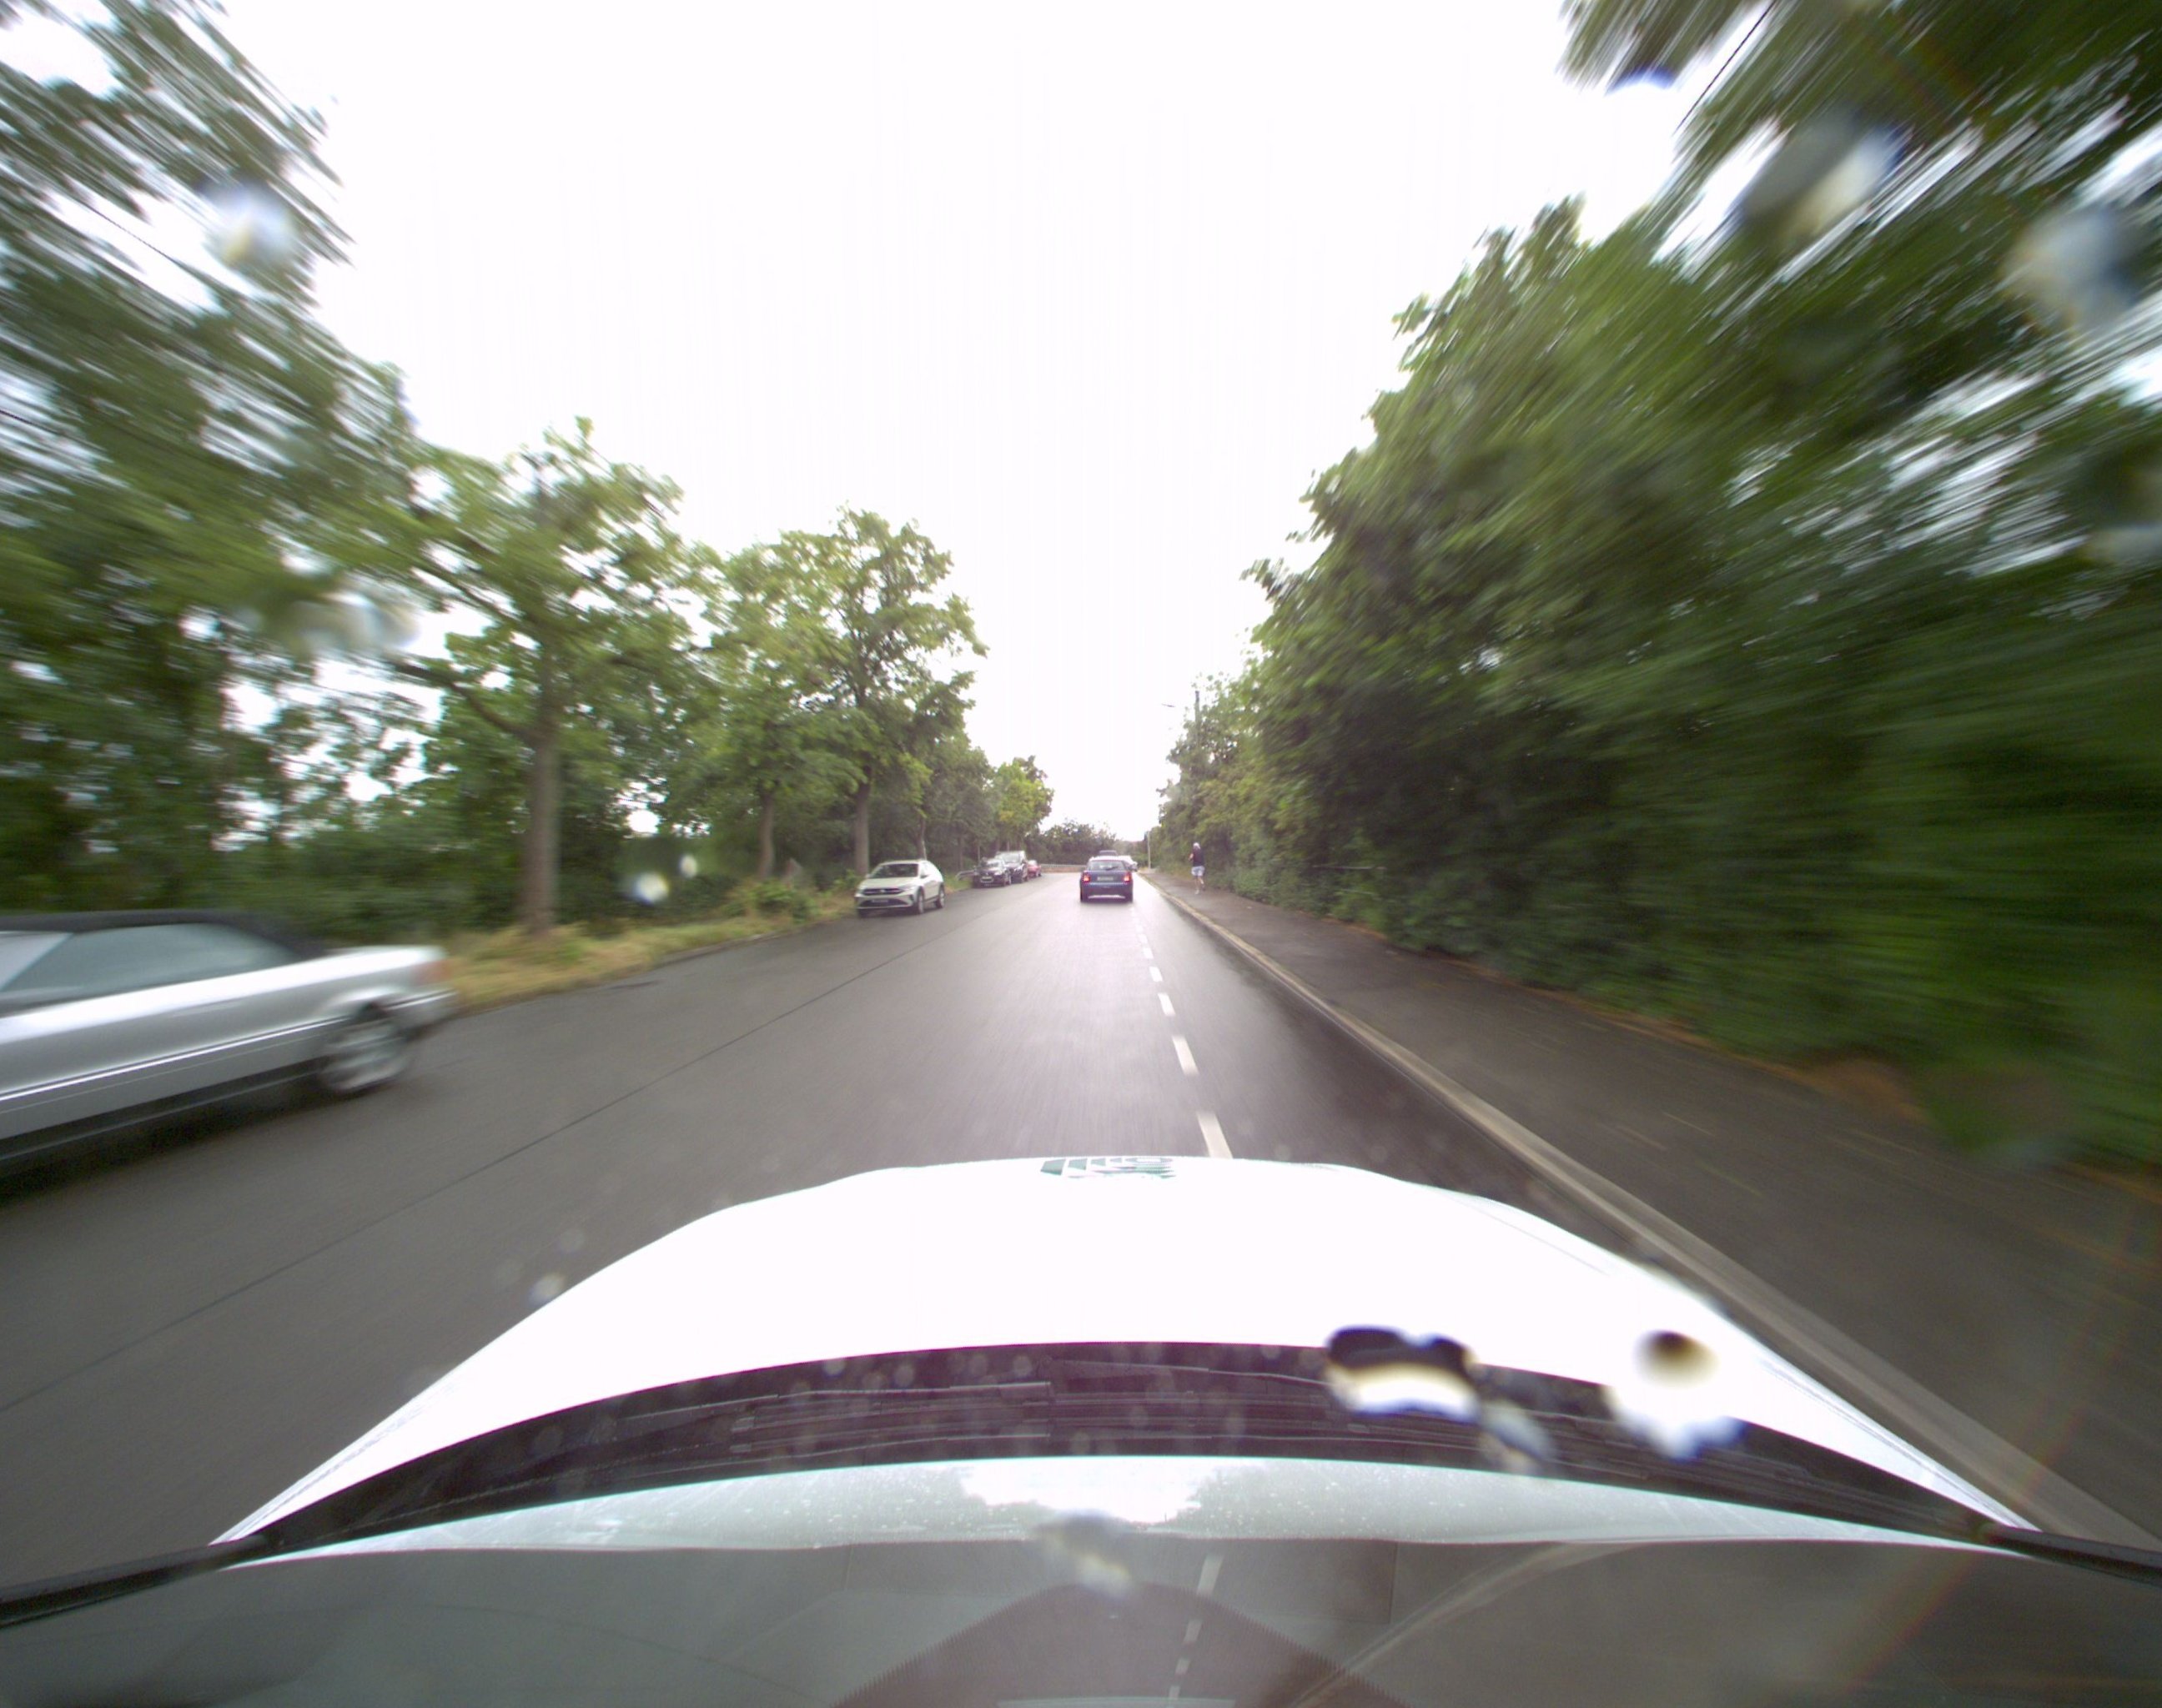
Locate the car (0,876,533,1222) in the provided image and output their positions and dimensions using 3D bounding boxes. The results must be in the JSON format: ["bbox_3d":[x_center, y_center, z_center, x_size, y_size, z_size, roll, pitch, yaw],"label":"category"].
[{"bbox_3d":[-5.699,0.991,4.713,1.747,1.402,4.424,-4,1,4],"label":"car"}]

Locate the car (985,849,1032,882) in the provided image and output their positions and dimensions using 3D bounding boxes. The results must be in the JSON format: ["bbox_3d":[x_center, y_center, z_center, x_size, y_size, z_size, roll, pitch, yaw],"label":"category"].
[{"bbox_3d":[-4.303,0.680,49.330,2.075,1.819,5.384,-2,-1,3],"label":"car"}]

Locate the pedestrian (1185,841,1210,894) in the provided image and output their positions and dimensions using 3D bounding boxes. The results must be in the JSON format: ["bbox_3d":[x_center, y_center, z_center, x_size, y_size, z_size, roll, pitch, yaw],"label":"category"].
[{"bbox_3d":[4.198,0.474,29.373,0.713,1.835,1.022,-3,0,4],"label":"pedestrian"}]

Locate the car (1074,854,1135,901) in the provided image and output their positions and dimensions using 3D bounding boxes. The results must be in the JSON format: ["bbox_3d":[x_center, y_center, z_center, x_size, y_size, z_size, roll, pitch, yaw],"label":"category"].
[{"bbox_3d":[0.716,0.799,27.571,1.743,1.408,3.995,-2,-2,-3],"label":"car"}]

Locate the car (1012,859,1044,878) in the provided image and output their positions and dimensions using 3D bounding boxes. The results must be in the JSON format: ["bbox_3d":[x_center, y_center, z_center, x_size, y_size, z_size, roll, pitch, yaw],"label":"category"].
[{"bbox_3d":[-3.910,1.051,60.542,1.781,1.297,4.330,-2,-1,4],"label":"car"}]

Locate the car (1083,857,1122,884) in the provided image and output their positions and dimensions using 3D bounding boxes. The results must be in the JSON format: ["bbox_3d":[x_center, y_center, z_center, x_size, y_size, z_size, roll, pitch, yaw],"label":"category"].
[{"bbox_3d":[1.225,0.879,44.322,1.882,1.389,4.005,-2,-1,4],"label":"car"}]

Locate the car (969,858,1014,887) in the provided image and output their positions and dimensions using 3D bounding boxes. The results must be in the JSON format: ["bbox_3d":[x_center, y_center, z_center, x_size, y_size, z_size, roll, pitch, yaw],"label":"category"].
[{"bbox_3d":[-4.718,0.966,43.358,1.791,1.437,4.256,-2,-1,1],"label":"car"}]

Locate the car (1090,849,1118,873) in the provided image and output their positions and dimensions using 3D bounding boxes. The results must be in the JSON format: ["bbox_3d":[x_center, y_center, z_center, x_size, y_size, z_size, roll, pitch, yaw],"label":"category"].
[{"bbox_3d":[1.621,0.495,57.339,1.815,1.617,3.787,-2,-1,2],"label":"car"}]

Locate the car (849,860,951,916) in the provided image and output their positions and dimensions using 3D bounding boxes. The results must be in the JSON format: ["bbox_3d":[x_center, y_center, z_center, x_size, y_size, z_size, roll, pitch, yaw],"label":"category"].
[{"bbox_3d":[-5.104,0.913,23.573,1.681,1.437,4.260,-2,-1,4],"label":"car"}]

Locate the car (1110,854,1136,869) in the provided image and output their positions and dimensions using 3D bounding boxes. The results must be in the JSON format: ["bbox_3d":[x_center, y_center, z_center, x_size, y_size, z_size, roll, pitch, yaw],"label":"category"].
[{"bbox_3d":[3.715,0.684,71.518,1.811,1.202,3.794,-3,-1,8],"label":"car"}]
